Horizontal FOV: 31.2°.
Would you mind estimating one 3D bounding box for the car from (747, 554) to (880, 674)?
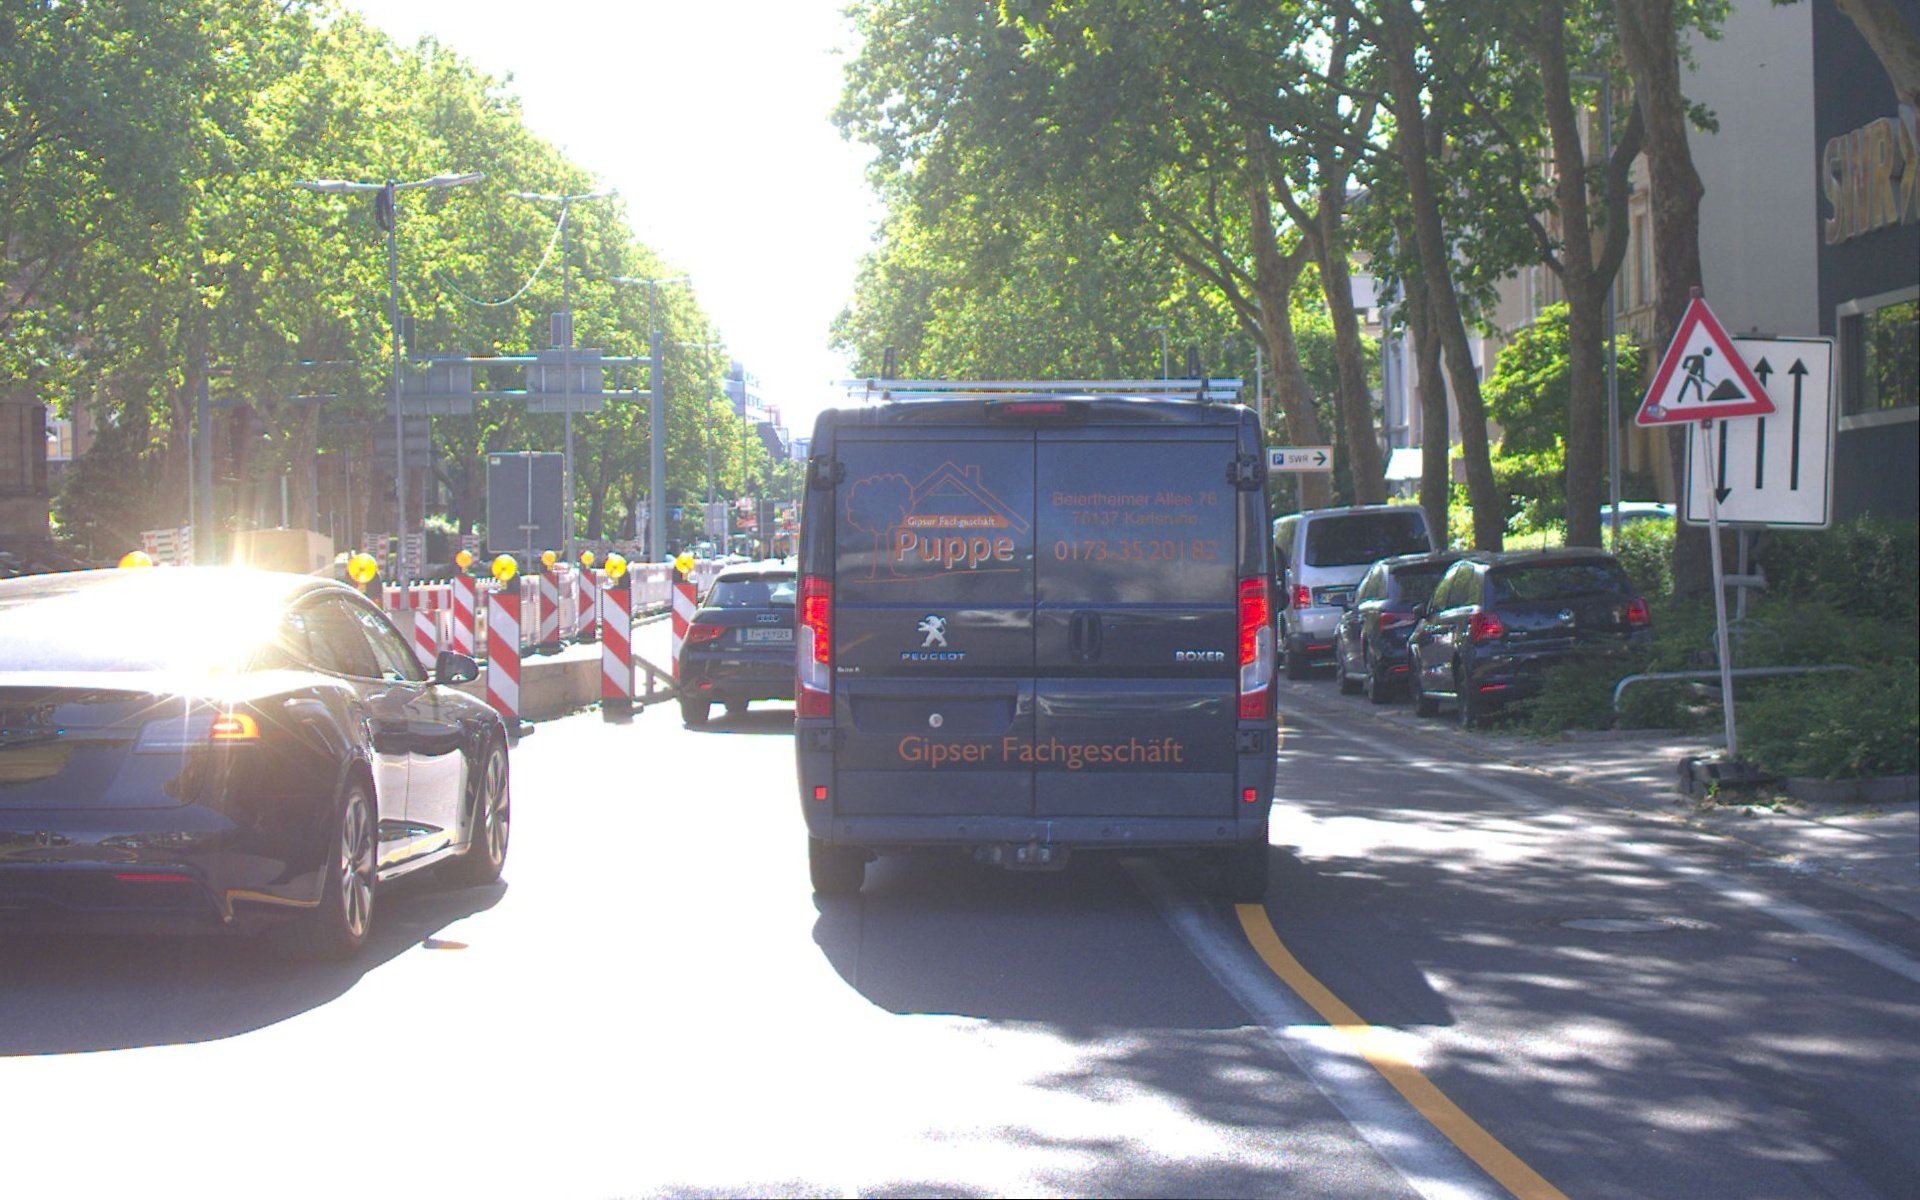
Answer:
[{"bbox_3d":[-1.864,0.145,42.920,1.547,1.420,3.555,-1,1,-4],"label":"car"}]

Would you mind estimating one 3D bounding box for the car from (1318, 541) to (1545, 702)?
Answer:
[{"bbox_3d":[4.721,0.179,34.912,1.657,1.535,4.129,0,1,-1],"label":"car"}]

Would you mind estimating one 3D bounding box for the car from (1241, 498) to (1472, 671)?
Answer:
[{"bbox_3d":[4.707,-0.217,41.598,2.025,1.940,5.274,-1,1,-2],"label":"car"}]

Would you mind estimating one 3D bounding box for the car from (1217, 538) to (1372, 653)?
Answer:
[{"bbox_3d":[4.560,-0.090,47.347,1.748,1.472,4.101,-1,1,1],"label":"car"}]

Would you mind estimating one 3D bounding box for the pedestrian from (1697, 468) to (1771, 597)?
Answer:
[{"bbox_3d":[10.132,-0.889,45.008,0.705,1.643,0.675,2,3,-4],"label":"pedestrian"}]

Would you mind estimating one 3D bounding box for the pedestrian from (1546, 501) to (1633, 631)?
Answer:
[{"bbox_3d":[7.878,-0.433,43.085,0.727,1.597,1.267,-1,1,-6],"label":"pedestrian"}]

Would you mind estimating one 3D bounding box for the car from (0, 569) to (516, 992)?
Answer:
[{"bbox_3d":[-3.129,0.585,13.883,1.925,1.407,4.625,0,1,2],"label":"car"}]

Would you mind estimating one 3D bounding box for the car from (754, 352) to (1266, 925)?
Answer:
[{"bbox_3d":[0.234,0.106,16.043,2.095,2.347,3.933,0,1,1],"label":"car"}]

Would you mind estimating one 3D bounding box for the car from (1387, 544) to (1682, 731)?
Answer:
[{"bbox_3d":[4.911,0.271,29.924,1.763,1.503,4.251,0,1,-1],"label":"car"}]

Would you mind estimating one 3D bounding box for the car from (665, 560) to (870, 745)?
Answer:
[{"bbox_3d":[-1.756,0.429,31.528,1.746,1.402,4.001,1,3,-3],"label":"car"}]
